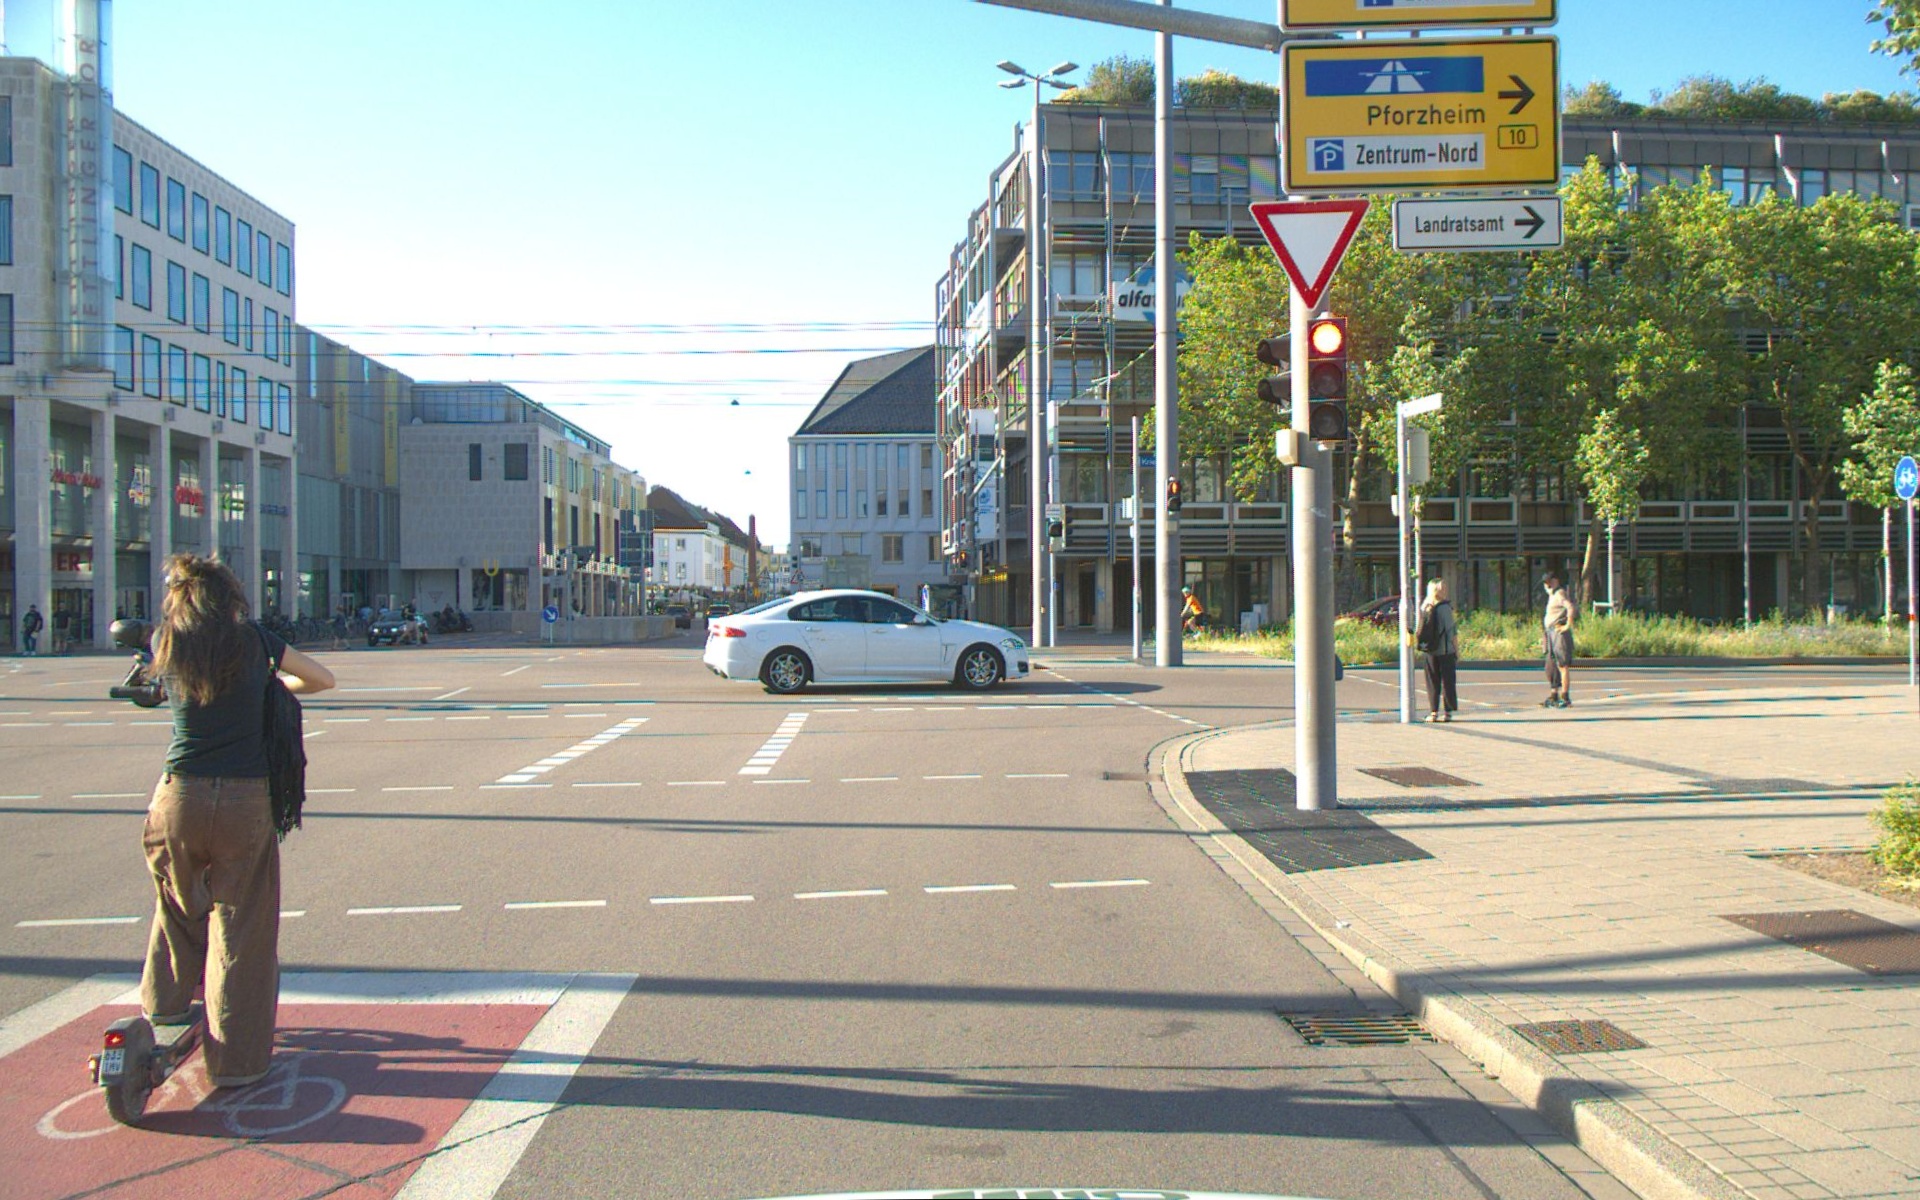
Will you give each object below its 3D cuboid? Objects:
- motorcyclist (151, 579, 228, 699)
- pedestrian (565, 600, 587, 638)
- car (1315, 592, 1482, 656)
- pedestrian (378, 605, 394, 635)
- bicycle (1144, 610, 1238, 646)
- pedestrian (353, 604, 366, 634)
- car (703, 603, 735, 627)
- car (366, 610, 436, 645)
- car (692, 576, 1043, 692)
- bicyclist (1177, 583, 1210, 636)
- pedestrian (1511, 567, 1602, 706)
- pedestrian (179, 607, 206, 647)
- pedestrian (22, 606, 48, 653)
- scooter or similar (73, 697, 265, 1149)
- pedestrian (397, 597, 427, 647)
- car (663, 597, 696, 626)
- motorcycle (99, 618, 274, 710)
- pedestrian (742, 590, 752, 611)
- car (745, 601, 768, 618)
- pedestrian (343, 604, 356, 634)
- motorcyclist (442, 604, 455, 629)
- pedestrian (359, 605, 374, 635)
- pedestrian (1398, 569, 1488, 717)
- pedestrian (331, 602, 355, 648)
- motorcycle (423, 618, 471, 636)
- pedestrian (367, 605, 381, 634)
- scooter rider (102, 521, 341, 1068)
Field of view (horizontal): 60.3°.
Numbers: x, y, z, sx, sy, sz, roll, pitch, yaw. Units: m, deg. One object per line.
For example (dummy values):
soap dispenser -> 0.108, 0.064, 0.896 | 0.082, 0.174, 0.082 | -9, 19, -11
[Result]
motorcyclist -> -9.889, 0.493, 21.237 | 0.735, 1.505, 0.598 | 0, 0, -9
pedestrian -> -18.588, 0.925, 80.000 | 0.881, 1.814, 0.808 | 0, 0, -1
car -> 12.330, 0.646, 46.588 | 4.212, 1.713, 1.820 | -1, 0, -11
pedestrian -> -33.850, 1.177, 97.540 | 0.462, 1.759, 0.692 | 0, -1, 37
bicycle -> 6.575, 0.794, 47.201 | 2.517, 0.992, 1.047 | -1, 0, -4
pedestrian -> -36.156, 1.146, 99.558 | 0.462, 1.759, 0.518 | 0, -1, 38
car -> -15.698, 0.964, 107.819 | 1.625, 1.484, 3.541 | -1, 0, -1
car -> -23.438, 1.123, 69.459 | 1.642, 1.381, 4.019 | -1, 0, -2
car -> -1.421, 0.471, 24.701 | 4.995, 1.592, 1.994 | -1, 0, -13
bicyclist -> 6.672, 0.276, 47.218 | 0.806, 1.500, 0.652 | -1, 0, -5
pedestrian -> 7.635, 0.456, 21.205 | 0.854, 1.736, 0.768 | -1, 0, -3
pedestrian -> -32.102, 1.126, 69.172 | 0.760, 1.667, 0.626 | -1, 0, 10
pedestrian -> -32.936, 1.050, 58.907 | 0.580, 1.674, 0.629 | -1, 0, -1
scooter or similar -> -2.257, 0.873, 4.776 | 0.301, 1.127, 0.836 | -1, 0, -12
pedestrian -> -21.097, 0.853, 63.698 | 0.923, 1.897, 0.539 | -1, 0, 16
car -> -16.884, 0.668, 99.753 | 1.785, 1.713, 3.994 | -1, 0, -7
motorcycle -> -9.905, 0.806, 21.235 | 1.918, 1.120, 0.648 | -1, 0, -9
pedestrian -> -21.151, 0.052, 164.357 | 0.892, 1.999, 0.822 | 1, -1, -1
car -> -17.898, 0.812, 145.609 | 1.625, 1.484, 3.541 | -1, 0, -1
pedestrian -> -36.170, 1.140, 98.024 | 0.462, 1.759, 0.518 | 0, -1, 38
motorcyclist -> -30.288, 0.985, 97.855 | 0.616, 1.430, 0.661 | 1, -1, -9
pedestrian -> -34.700, 1.159, 96.700 | 0.462, 1.759, 0.626 | 1, -1, 33
pedestrian -> 5.534, 0.480, 18.985 | 0.750, 1.642, 0.874 | -1, 0, -2
pedestrian -> -23.447, 0.948, 62.876 | 0.685, 1.718, 0.619 | -1, 0, 0
motorcycle -> -30.250, 1.619, 97.646 | 2.555, 1.010, 1.113 | 1, 0, -10
pedestrian -> -35.216, 1.161, 99.386 | 0.461, 1.759, 0.627 | 1, -1, 28
scooter rider -> -2.207, 0.552, 4.987 | 0.542, 1.556, 0.448 | -1, 0, -9
